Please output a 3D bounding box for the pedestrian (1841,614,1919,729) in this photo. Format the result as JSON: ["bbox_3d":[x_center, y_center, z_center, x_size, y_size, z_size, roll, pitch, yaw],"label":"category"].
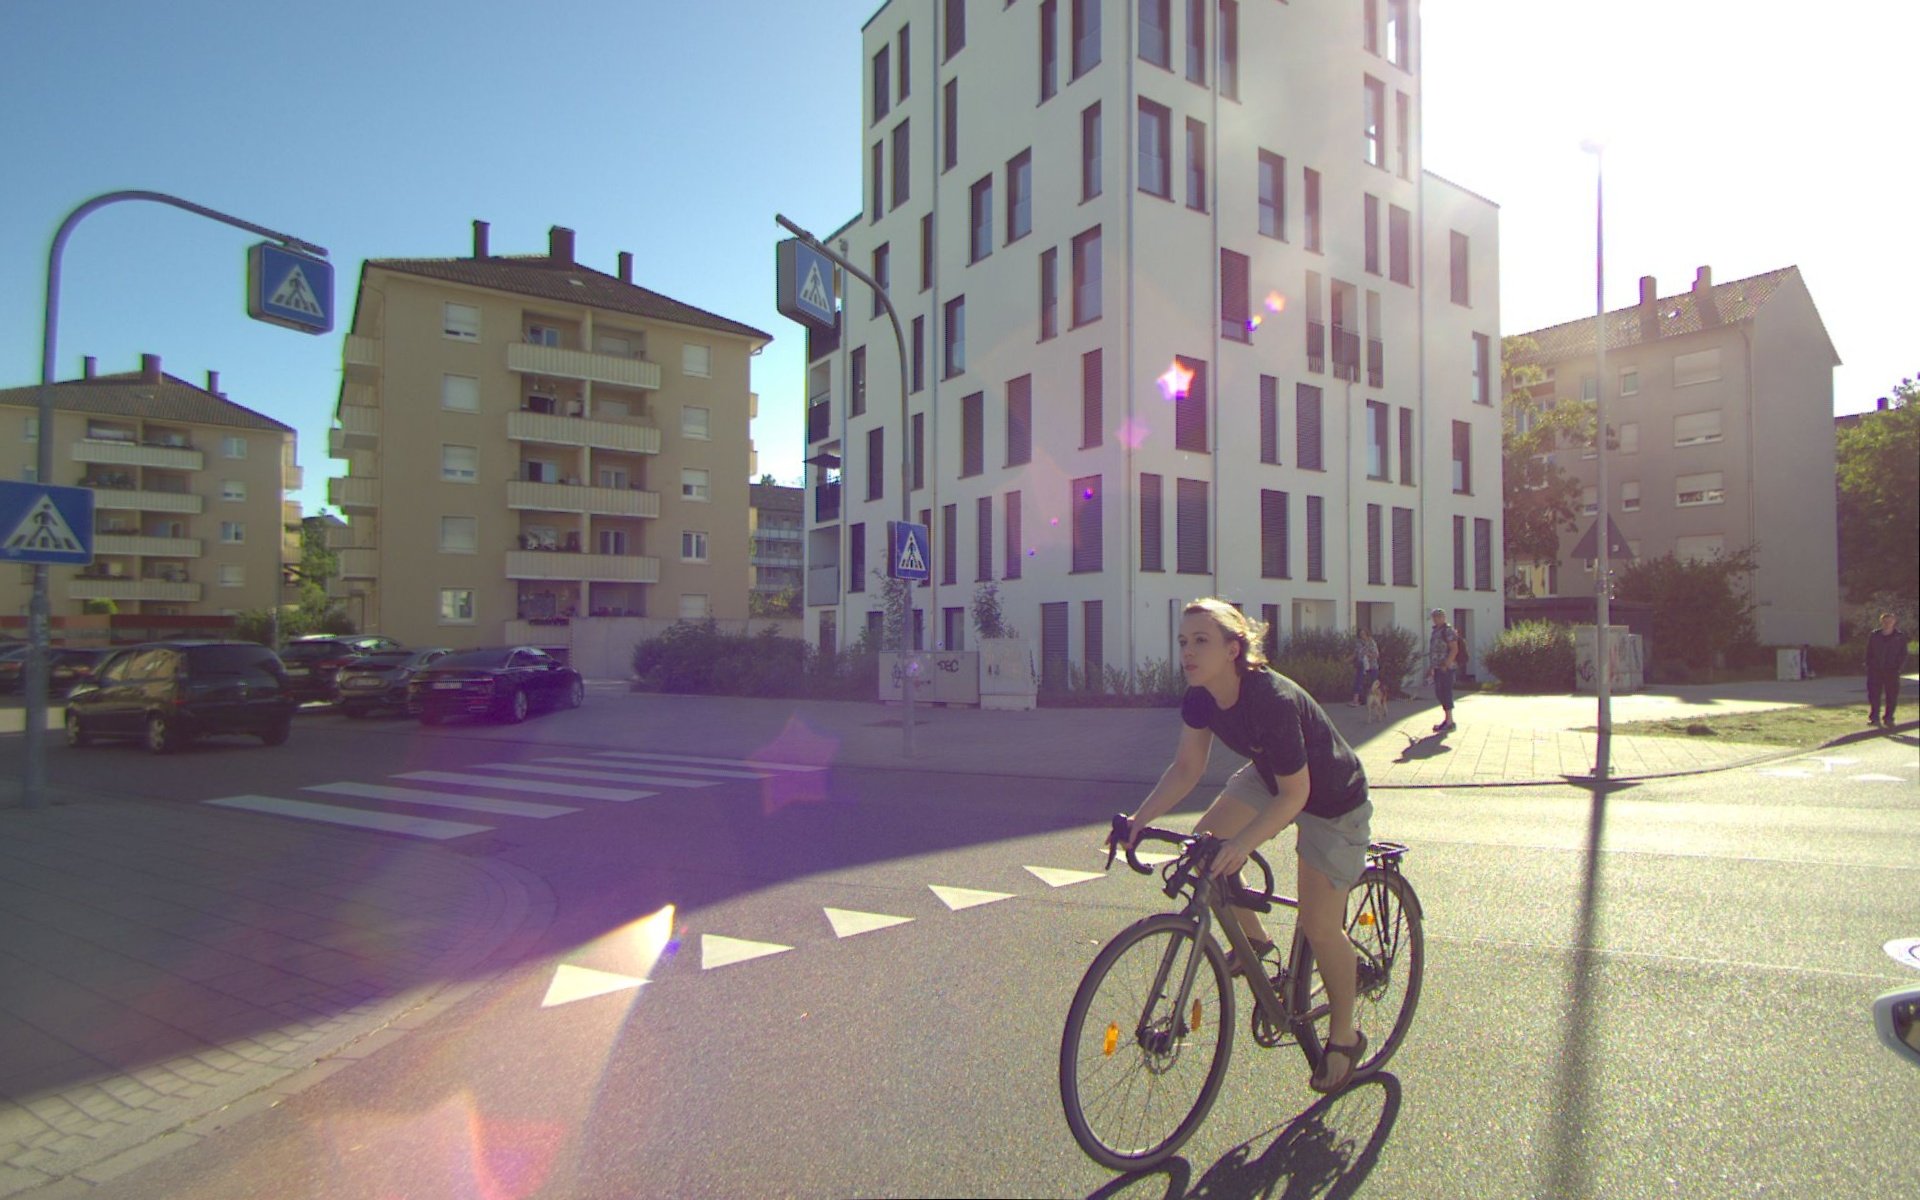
[{"bbox_3d":[14.541,1.100,15.784,0.971,1.737,0.864,1,-2,-38],"label":"pedestrian"}]

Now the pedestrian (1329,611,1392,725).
[{"bbox_3d":[7.691,1.299,19.343,0.939,2.149,0.776,-1,-1,9],"label":"pedestrian"}]

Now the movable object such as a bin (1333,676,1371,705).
[{"bbox_3d":[7.849,1.809,20.110,0.674,0.549,0.271,1,-2,-14],"label":"movable object such as a bin"}]

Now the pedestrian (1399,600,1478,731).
[{"bbox_3d":[7.328,0.976,15.383,0.786,1.910,0.835,2,-1,-45],"label":"pedestrian"}]

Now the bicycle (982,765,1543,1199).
[{"bbox_3d":[1.020,1.112,3.143,1.897,1.025,0.546,2,-2,-31],"label":"bicycle"}]

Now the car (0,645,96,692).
[{"bbox_3d":[-30.894,2.207,32.567,1.959,1.327,4.003,1,-1,9],"label":"car"}]

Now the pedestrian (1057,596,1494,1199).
[{"bbox_3d":[0.931,0.838,2.994,1.034,1.662,0.687,2,-1,-29],"label":"pedestrian"}]

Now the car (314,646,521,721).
[{"bbox_3d":[-11.636,1.737,21.971,1.960,1.450,4.566,-1,-2,1],"label":"car"}]

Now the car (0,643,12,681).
[{"bbox_3d":[-38.160,2.337,37.225,1.959,1.416,4.003,2,-1,9],"label":"car"}]

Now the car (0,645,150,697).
[{"bbox_3d":[-27.854,2.148,31.101,1.959,1.327,4.003,1,-1,9],"label":"car"}]

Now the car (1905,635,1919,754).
[{"bbox_3d":[14.709,1.159,13.430,4.587,1.524,1.876,0,-5,-33],"label":"car"}]

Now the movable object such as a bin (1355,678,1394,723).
[{"bbox_3d":[6.783,1.636,16.434,0.843,0.688,0.269,2,-2,-44],"label":"movable object such as a bin"}]

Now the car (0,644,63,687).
[{"bbox_3d":[-33.485,2.283,34.327,1.960,1.272,4.001,2,1,4],"label":"car"}]

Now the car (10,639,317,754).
[{"bbox_3d":[-12.056,1.383,15.240,4.032,1.550,1.743,-1,-1,19],"label":"car"}]

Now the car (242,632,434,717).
[{"bbox_3d":[-14.072,1.621,23.030,1.961,1.673,4.000,-1,-1,-1],"label":"car"}]

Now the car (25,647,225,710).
[{"bbox_3d":[-22.950,2.114,27.843,1.960,1.420,4.002,2,-1,6],"label":"car"}]

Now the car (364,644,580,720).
[{"bbox_3d":[-9.418,1.535,19.882,1.960,1.182,4.565,-1,-1,1],"label":"car"}]

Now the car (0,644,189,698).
[{"bbox_3d":[-25.514,2.049,29.718,1.959,1.327,4.003,1,-1,9],"label":"car"}]
